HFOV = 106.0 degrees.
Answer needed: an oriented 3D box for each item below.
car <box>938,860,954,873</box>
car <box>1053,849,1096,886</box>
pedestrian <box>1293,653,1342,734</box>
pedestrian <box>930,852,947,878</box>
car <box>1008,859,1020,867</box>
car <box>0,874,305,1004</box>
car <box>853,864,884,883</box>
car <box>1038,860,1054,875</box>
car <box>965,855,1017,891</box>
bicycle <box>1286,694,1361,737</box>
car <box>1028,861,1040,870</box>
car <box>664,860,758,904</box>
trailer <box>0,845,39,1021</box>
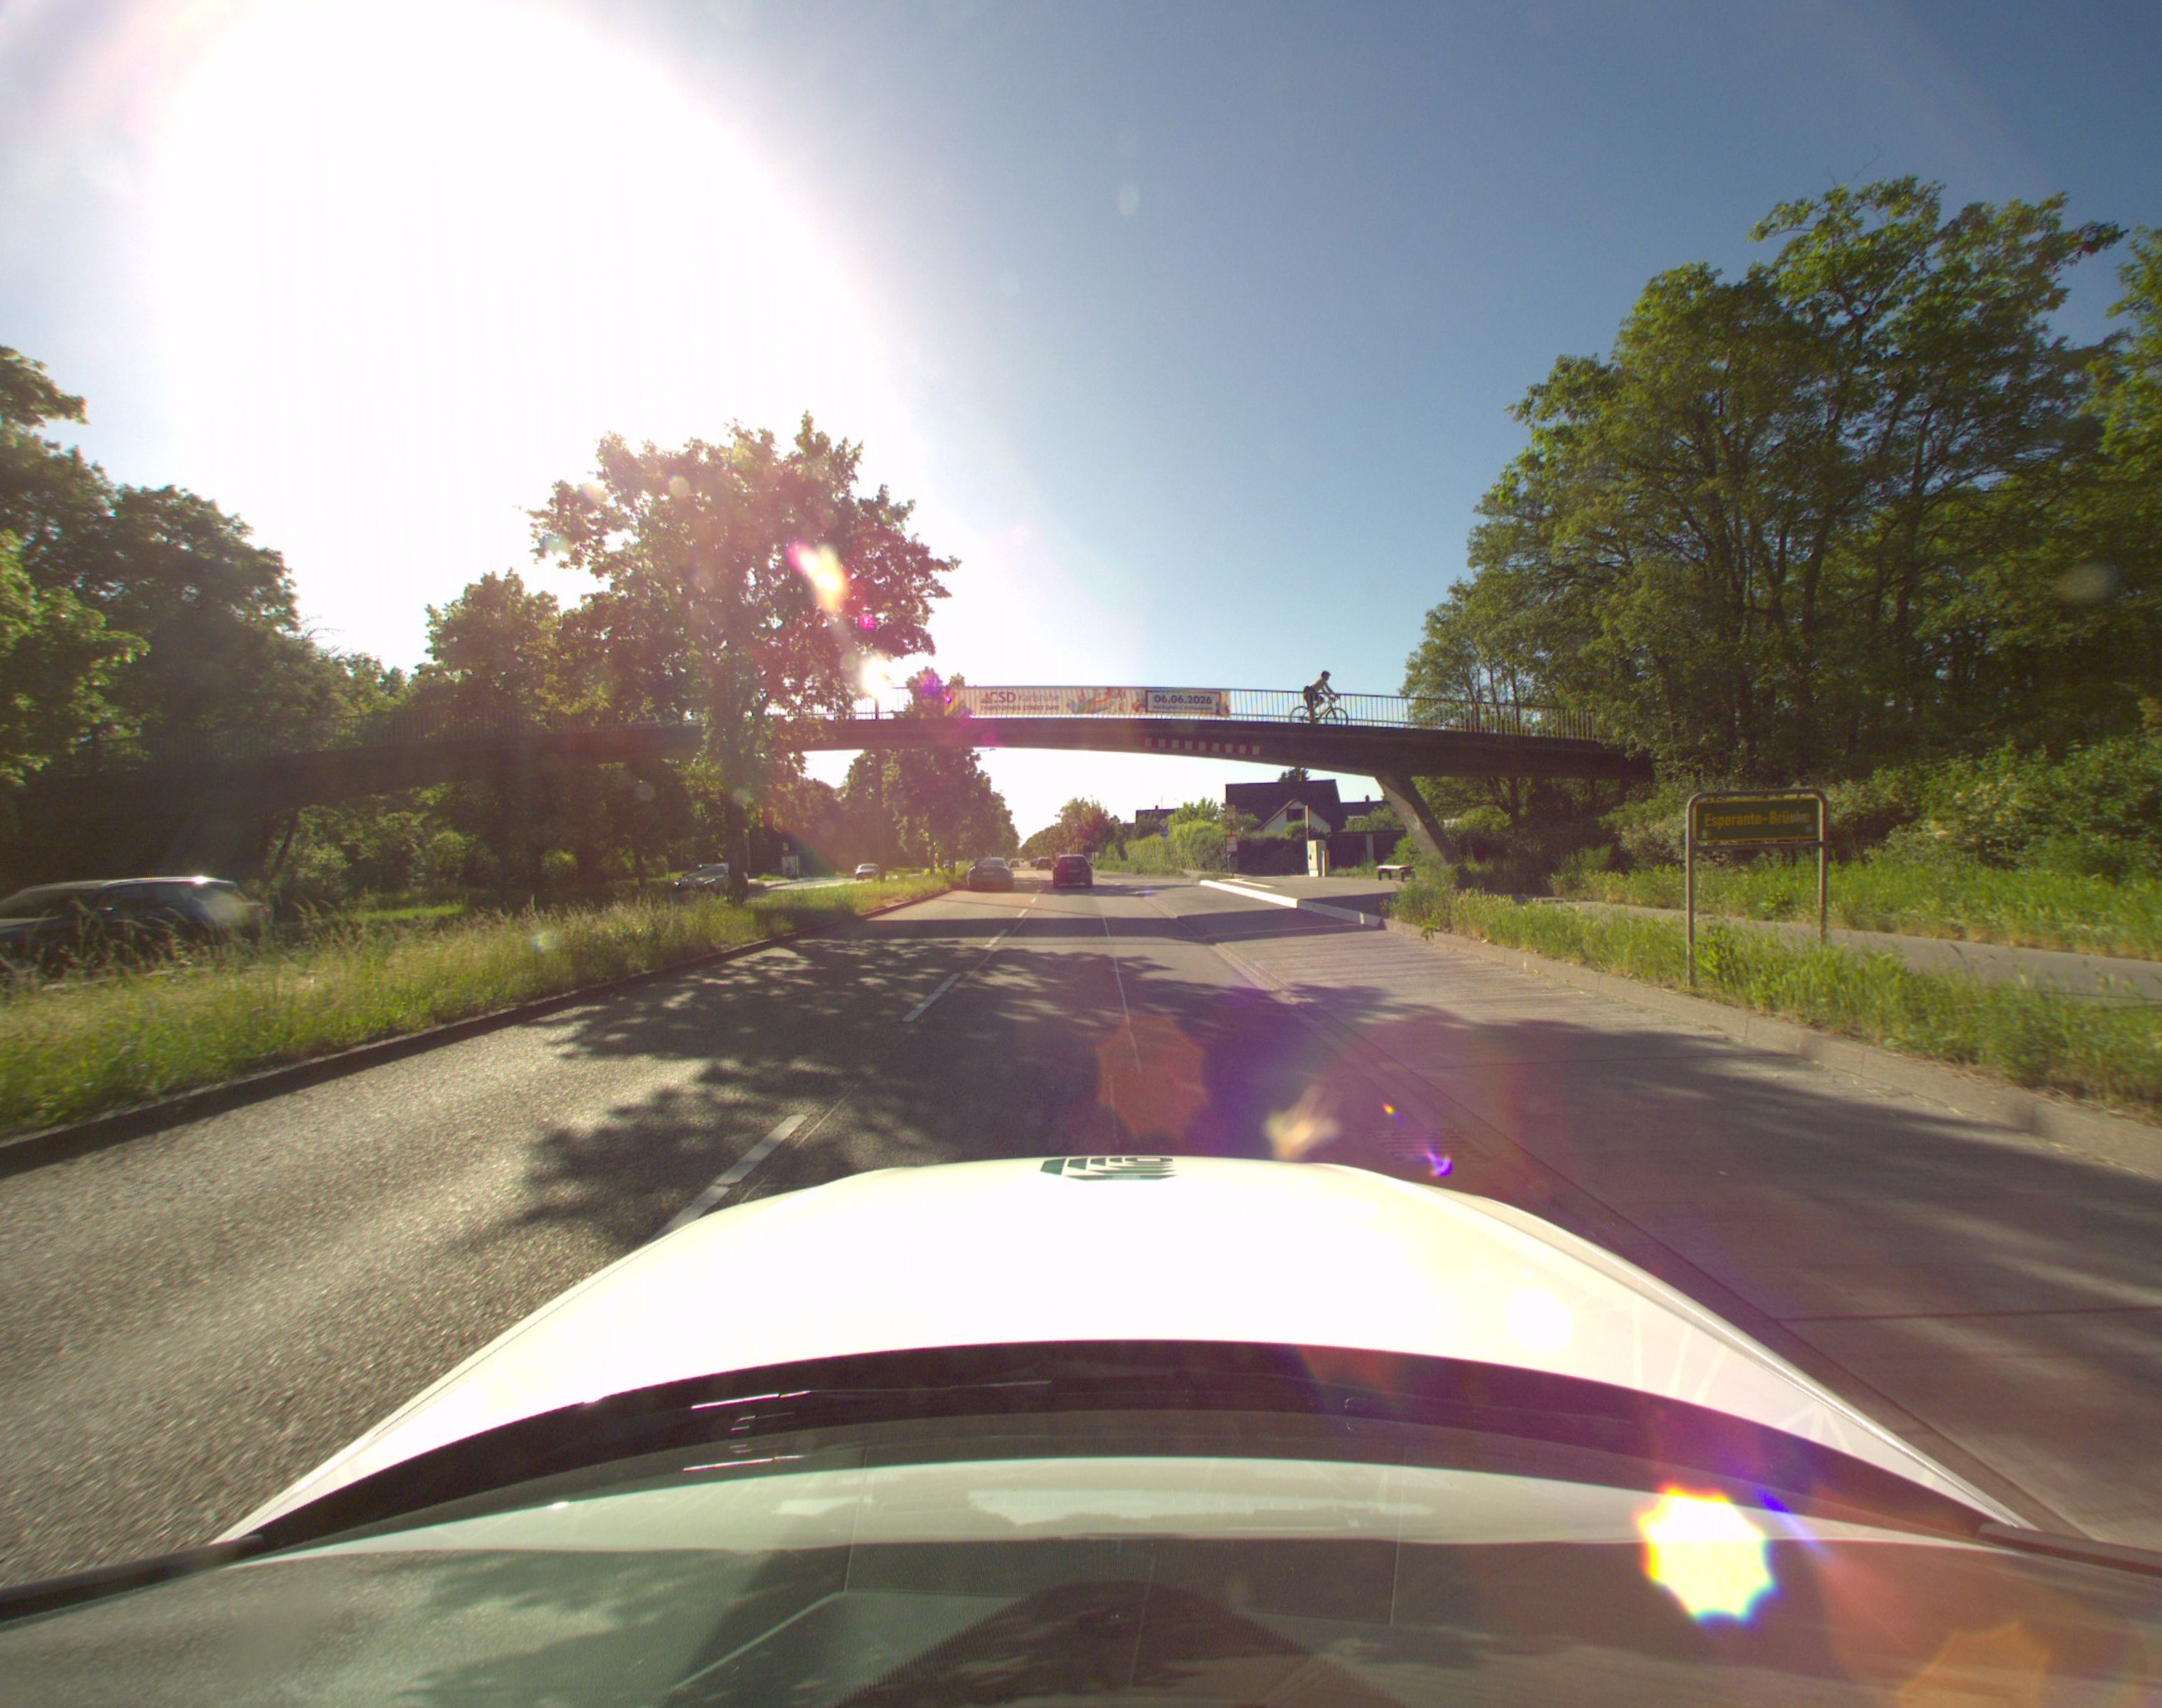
[{"bbox_3d":[-18.007,1.620,109.072,1.727,1.632,4.190,-2,0,-5],"label":"car"},{"bbox_3d":[-0.333,0.620,37.084,1.757,1.559,3.994,0,-1,-4],"label":"car"},{"bbox_3d":[6.867,-4.654,23.712,1.063,2.123,0.996,-2,0,-2],"label":"pedestrian"},{"bbox_3d":[-9.587,0.713,54.763,0.624,1.696,0.948,-2,0,26],"label":"pedestrian"},{"bbox_3d":[-12.298,1.625,149.469,1.977,1.440,3.988,-2,0,-9],"label":"car"},{"bbox_3d":[-15.293,1.207,12.809,1.744,1.620,4.578,-2,0,0],"label":"car"},{"bbox_3d":[-18.443,1.673,70.837,1.536,1.431,4.253,-3,0,-2],"label":"car"},{"bbox_3d":[-4.154,1.537,95.596,1.740,1.597,4.170,-1,0,-3],"label":"car"},{"bbox_3d":[-3.890,0.800,35.757,1.990,1.405,3.995,-1,0,-3],"label":"car"},{"bbox_3d":[7.058,-4.029,23.747,1.983,1.107,0.727,0,0,-2],"label":"bicycle"},{"bbox_3d":[-7.925,1.930,136.428,1.896,1.356,3.992,-2,0,-6],"label":"car"},{"bbox_3d":[-15.687,1.138,34.838,1.726,1.646,4.898,-3,0,-1],"label":"car"},{"bbox_3d":[-12.526,0.886,7.002,1.557,1.910,4.282,-2,0,0],"label":"trailer"}]
